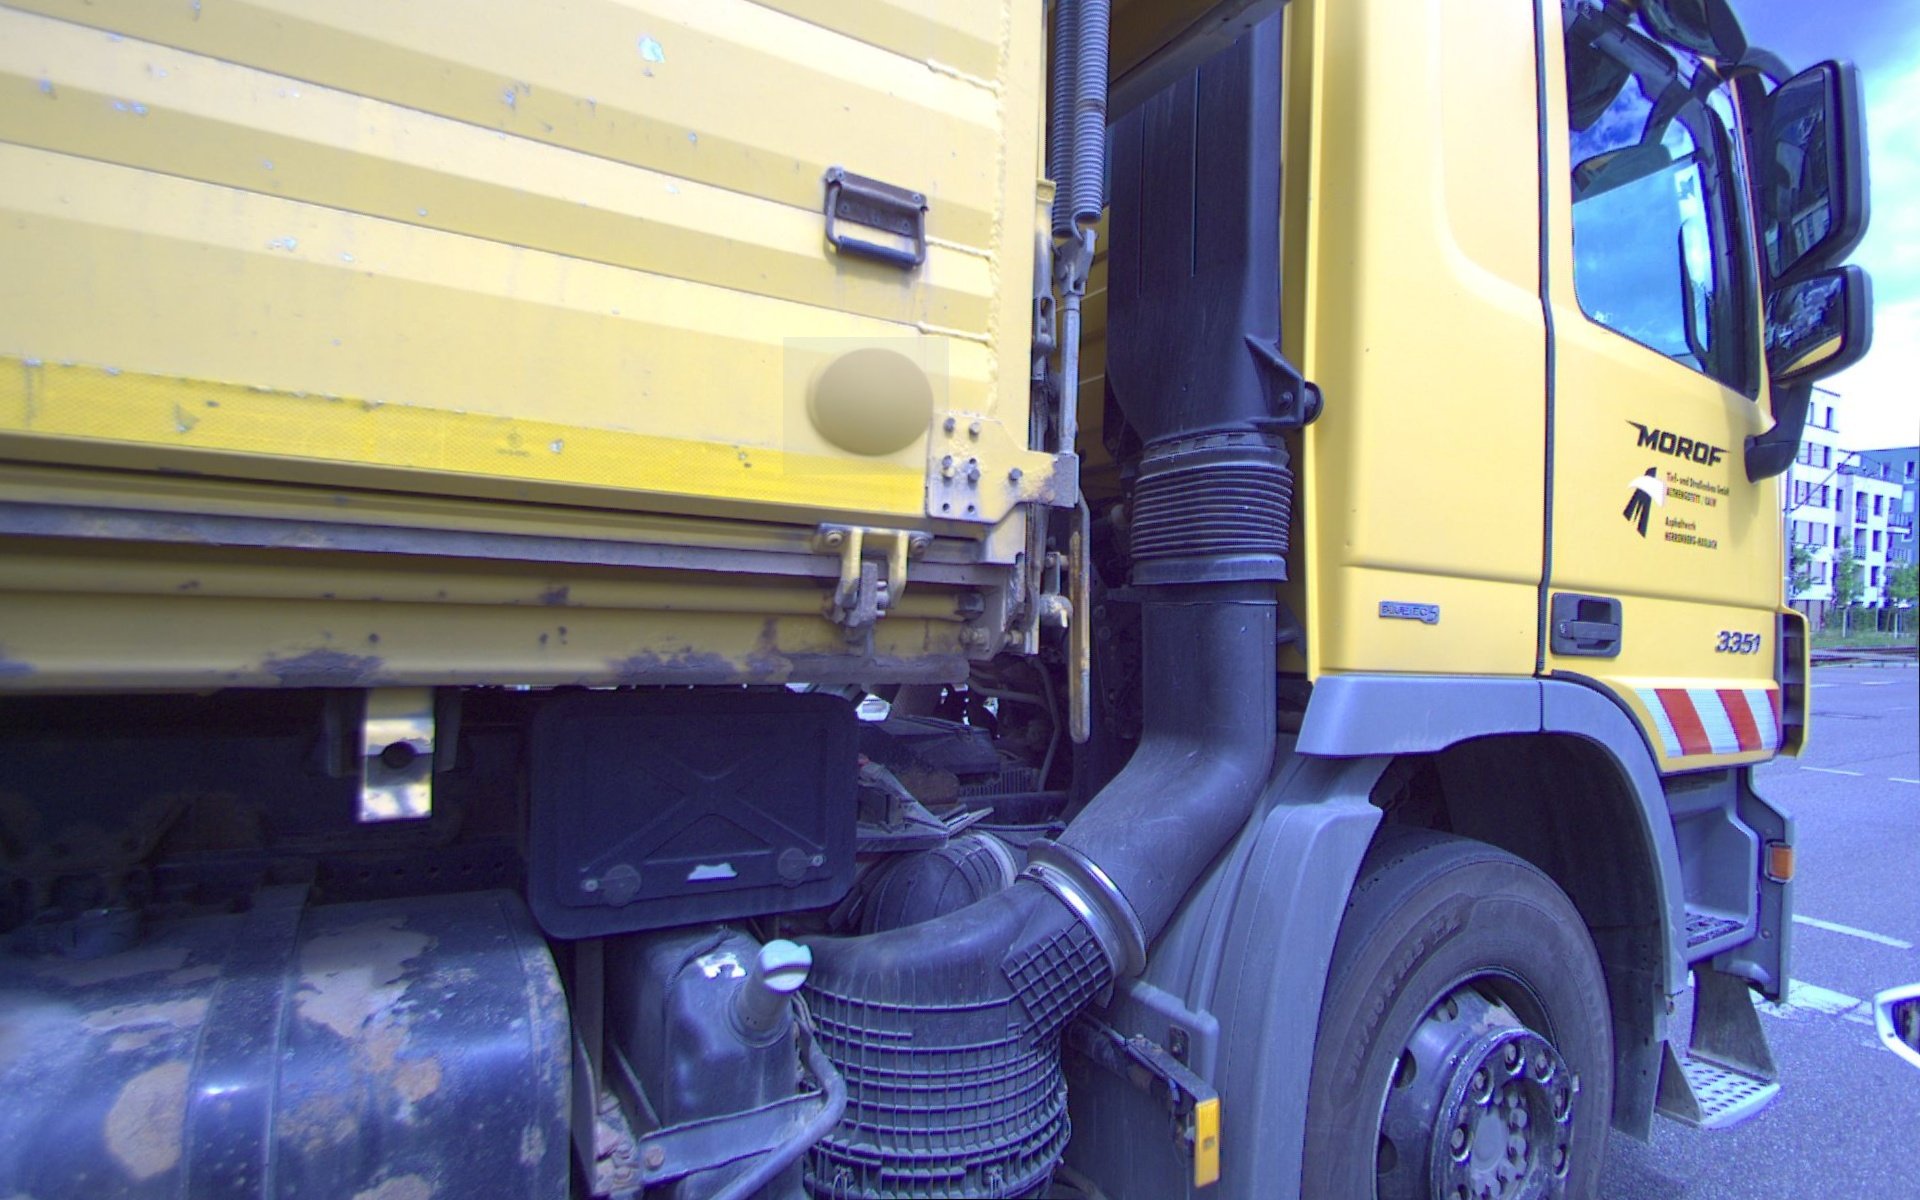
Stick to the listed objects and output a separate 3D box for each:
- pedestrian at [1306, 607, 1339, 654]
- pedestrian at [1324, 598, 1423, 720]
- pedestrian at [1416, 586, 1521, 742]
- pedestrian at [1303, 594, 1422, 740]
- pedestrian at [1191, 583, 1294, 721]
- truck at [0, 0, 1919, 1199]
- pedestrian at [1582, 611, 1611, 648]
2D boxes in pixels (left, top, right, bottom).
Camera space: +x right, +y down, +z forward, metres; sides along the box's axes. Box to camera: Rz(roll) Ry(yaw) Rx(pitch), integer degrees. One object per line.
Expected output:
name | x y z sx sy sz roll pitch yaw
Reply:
pedestrian | 13.004 1.085 36.053 1.048 1.670 0.708 1 0 18
pedestrian | 5.725 0.787 13.920 0.897 1.618 0.888 1 0 -30
pedestrian | 6.024 0.728 11.910 0.818 1.766 0.778 1 0 -30
pedestrian | 4.723 0.749 11.811 0.918 1.628 0.908 1 0 -30
pedestrian | 3.855 0.684 13.741 0.918 1.796 0.998 1 0 -29
truck | -1.660 -0.230 1.539 7.916 3.439 3.033 1 0 -32
pedestrian | 26.565 1.219 41.915 0.628 1.536 0.827 1 0 -30
